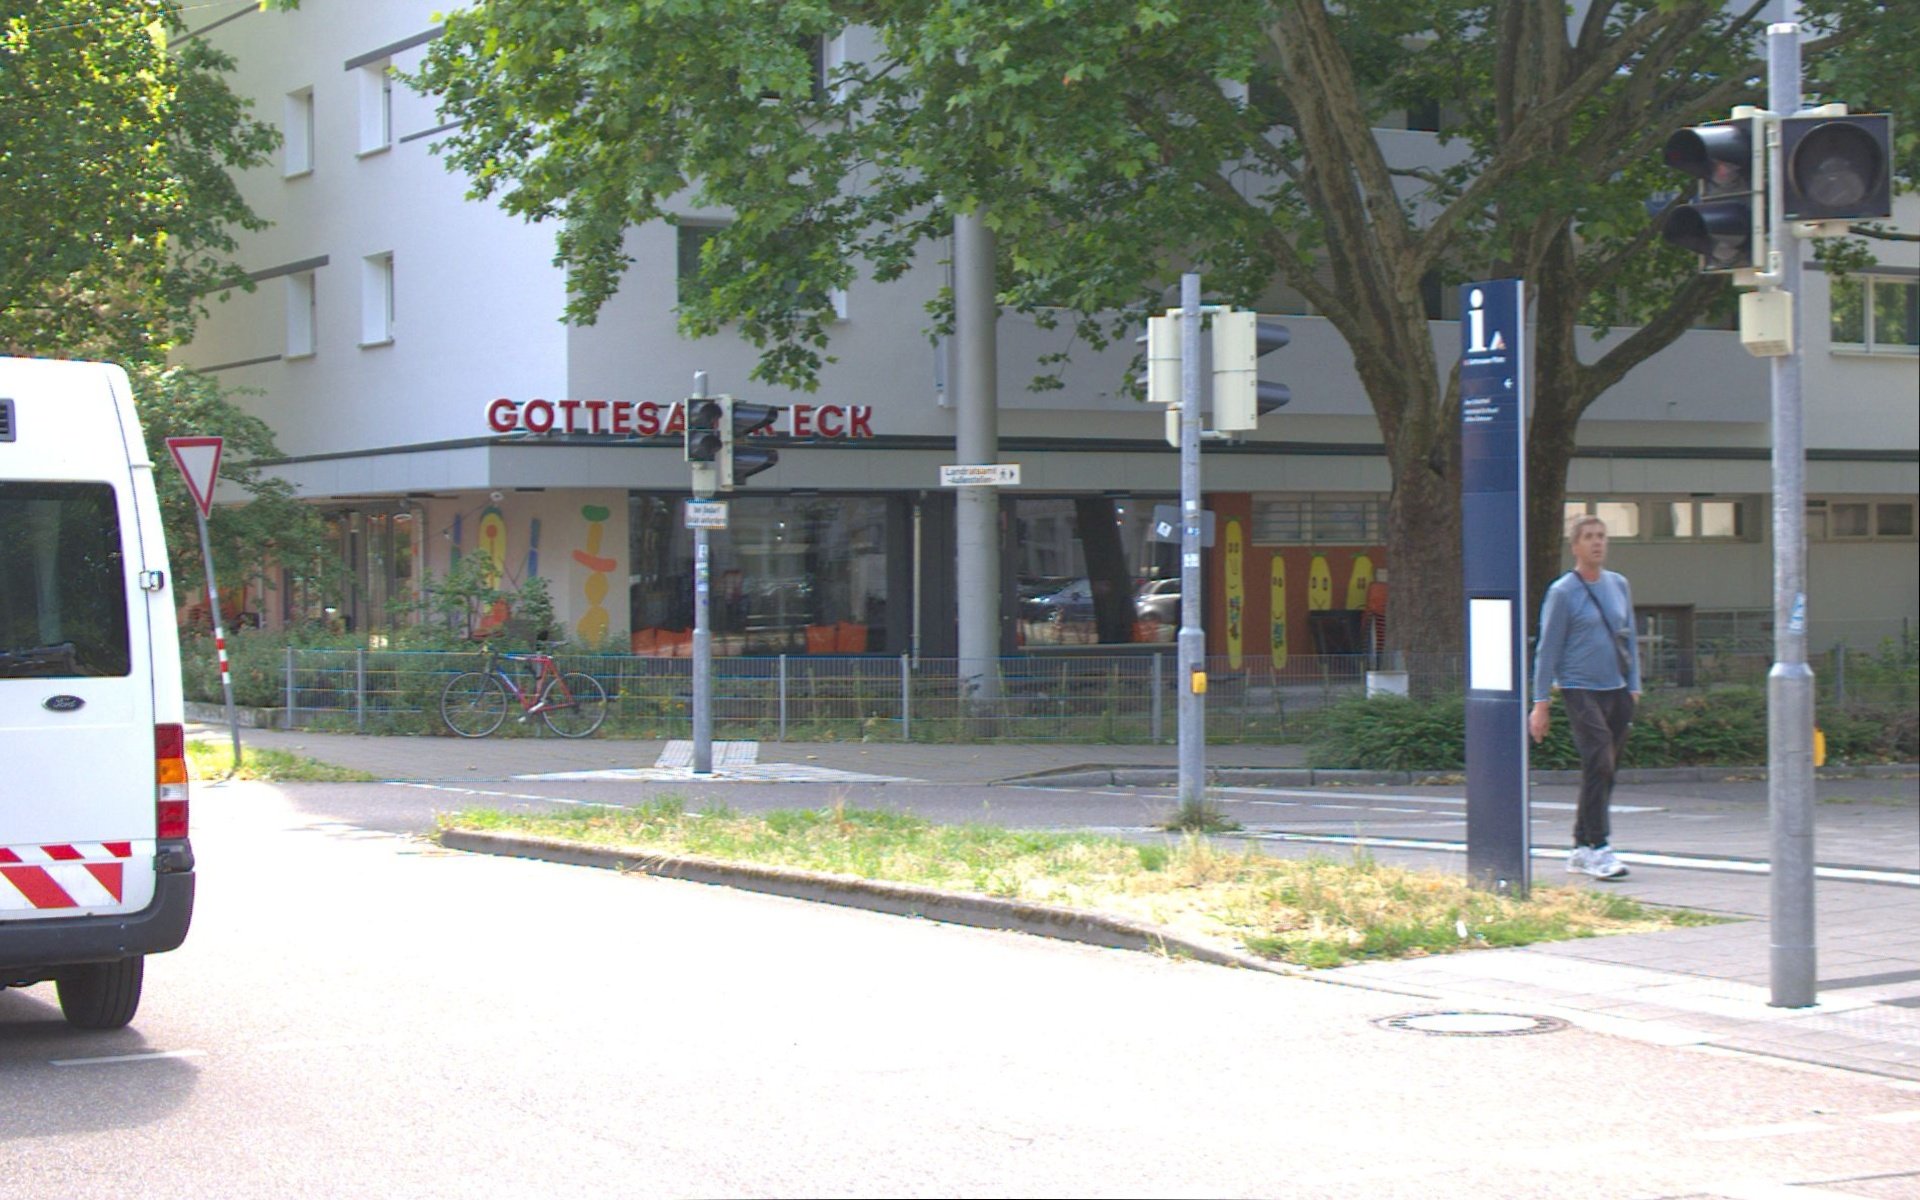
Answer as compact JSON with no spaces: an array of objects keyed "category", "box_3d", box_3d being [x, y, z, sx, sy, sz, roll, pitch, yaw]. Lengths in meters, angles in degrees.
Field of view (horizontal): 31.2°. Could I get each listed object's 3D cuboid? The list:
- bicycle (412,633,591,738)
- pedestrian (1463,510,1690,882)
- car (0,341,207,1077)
[{"category":"bicycle","box_3d":[-4.571,0.848,34.341,1.723,1.006,0.534,-1,1,-3]},{"category":"pedestrian","box_3d":[3.046,0.453,17.020,0.692,1.777,0.887,-1,1,-28]},{"category":"car","box_3d":[-4.460,0.328,12.769,2.047,2.325,4.715,0,0,-28]}]
